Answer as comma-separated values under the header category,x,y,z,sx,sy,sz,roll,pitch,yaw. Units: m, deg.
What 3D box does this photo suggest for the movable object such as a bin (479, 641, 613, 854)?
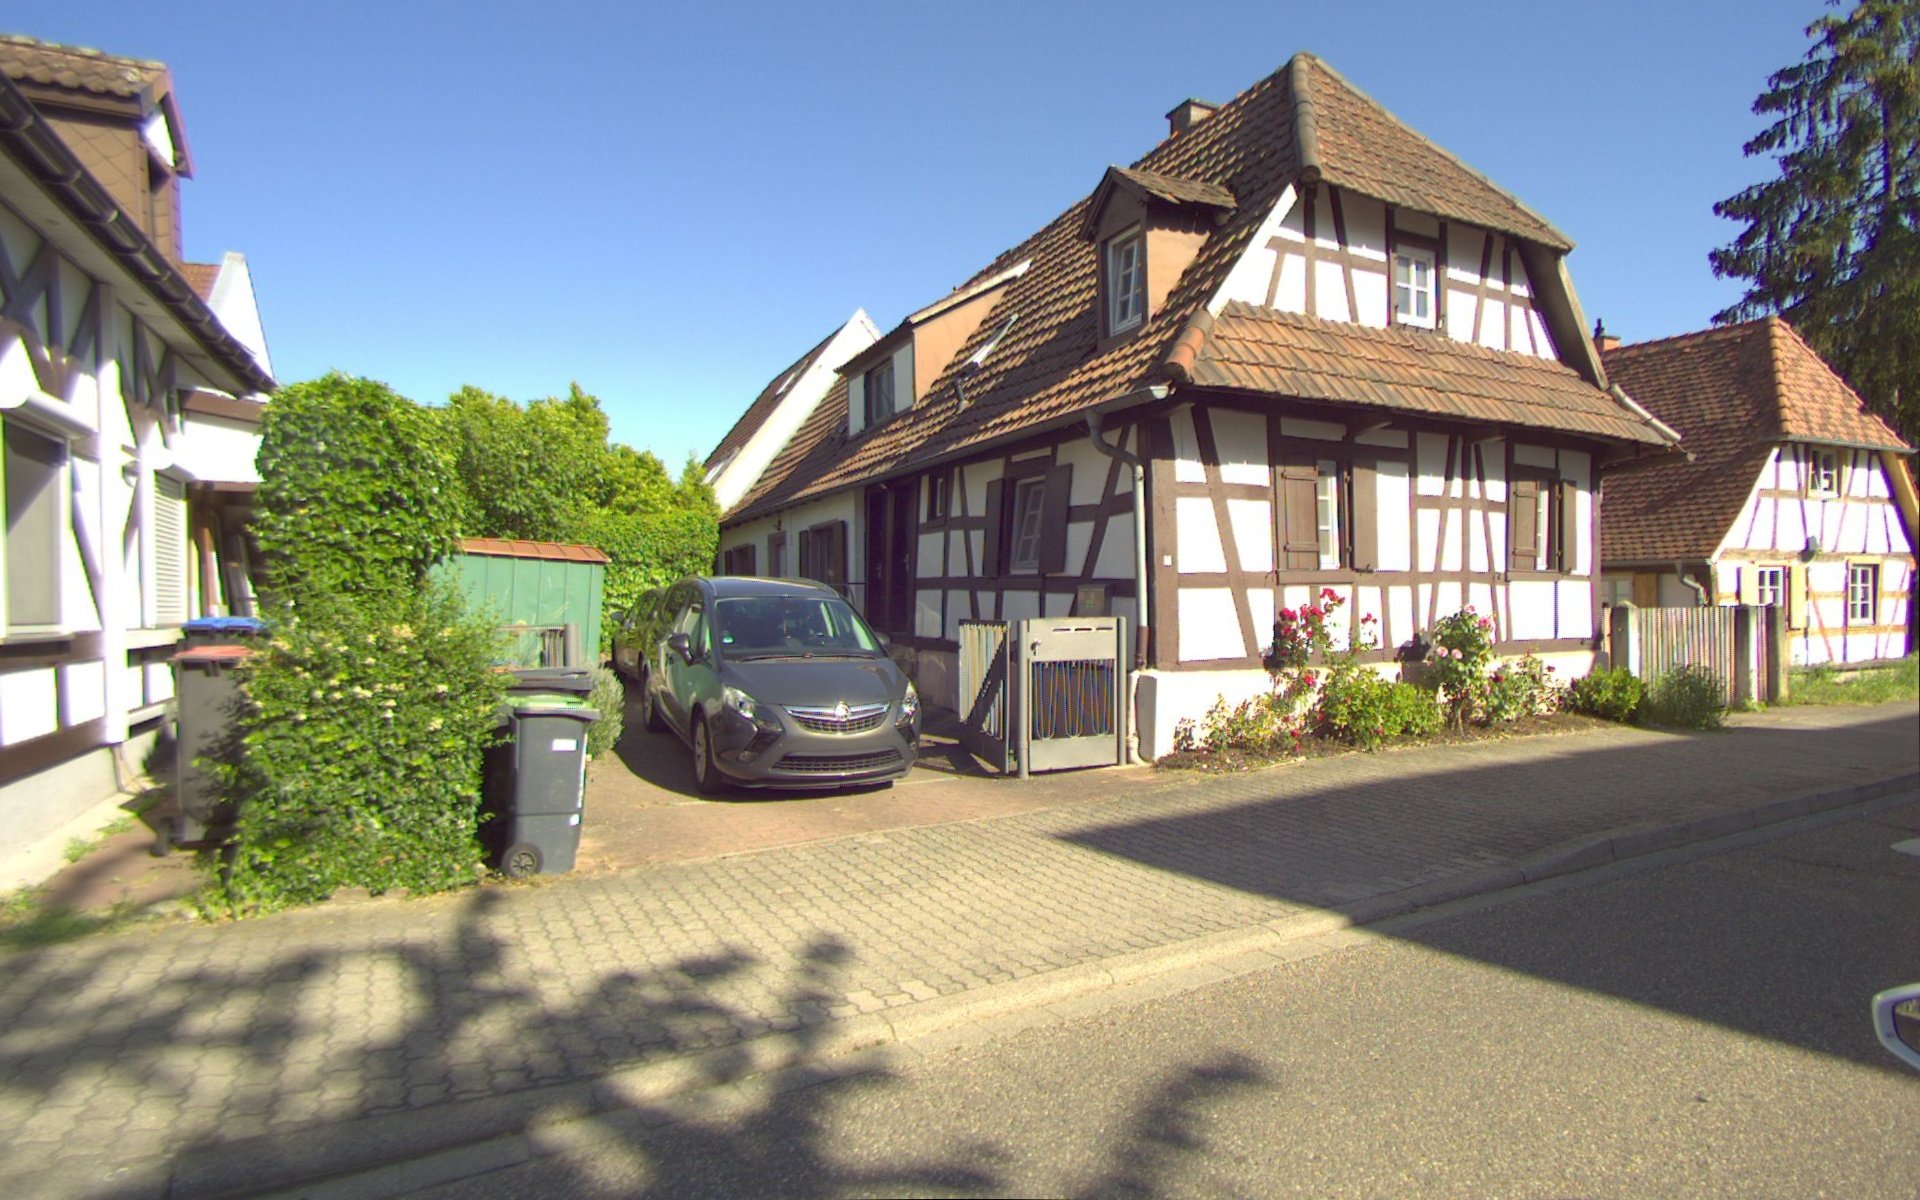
category,x,y,z,sx,sy,sz,roll,pitch,yaw
movable object such as a bin,-2.430,0.823,5.887,0.660,1.155,0.474,1,-1,-30

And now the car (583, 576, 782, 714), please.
category,x,y,z,sx,sy,sz,roll,pitch,yaw
car,-4.085,0.522,14.282,1.797,1.614,4.085,2,1,-29

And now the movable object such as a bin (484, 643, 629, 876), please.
category,x,y,z,sx,sy,sz,roll,pitch,yaw
movable object such as a bin,-2.177,0.816,5.412,0.660,1.155,0.474,1,-1,-30

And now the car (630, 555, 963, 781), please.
category,x,y,z,sx,sy,sz,roll,pitch,yaw
car,-1.747,0.571,9.393,1.797,1.613,4.086,2,-3,-29

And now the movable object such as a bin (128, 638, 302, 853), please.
category,x,y,z,sx,sy,sz,roll,pitch,yaw
movable object such as a bin,-3.894,0.733,5.289,0.638,1.054,0.398,1,-1,-23
